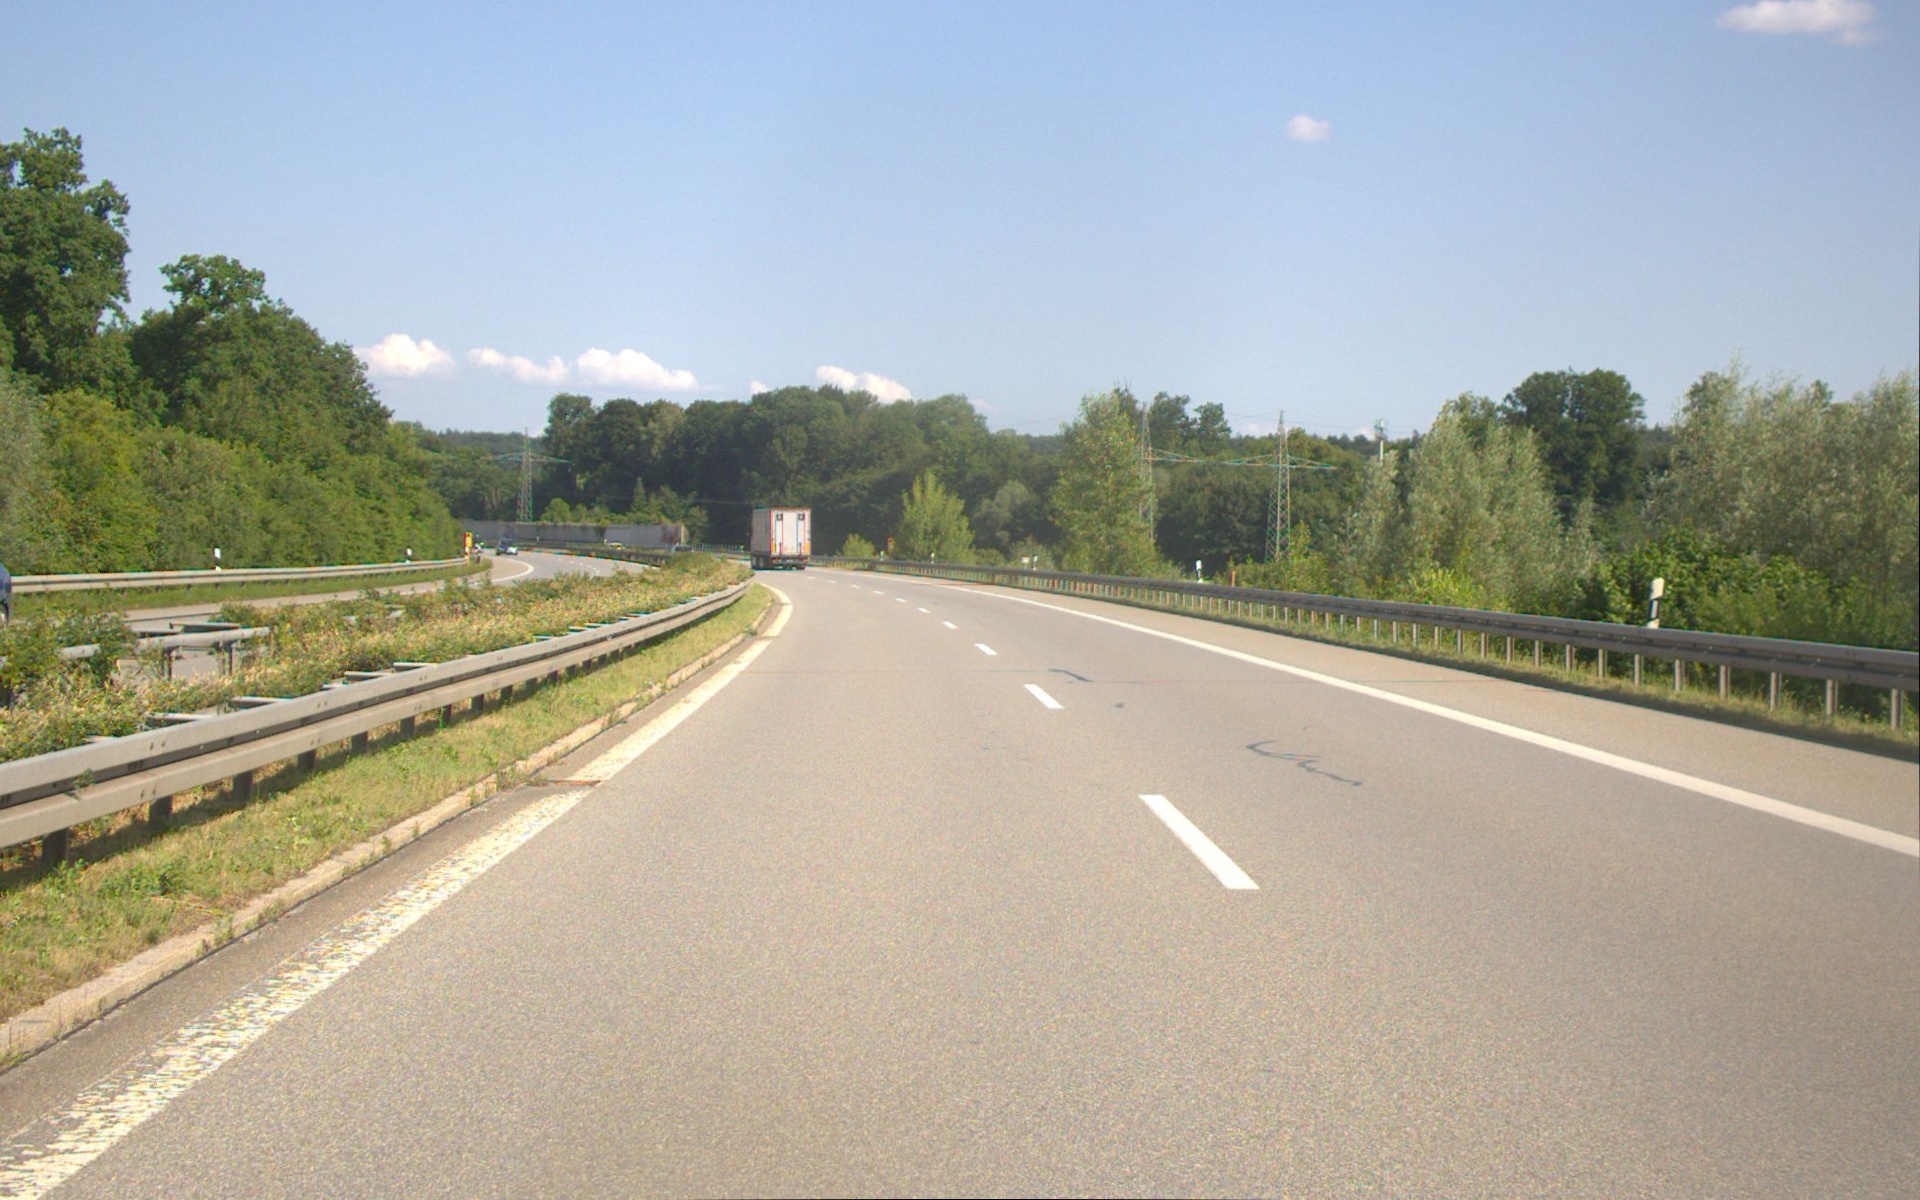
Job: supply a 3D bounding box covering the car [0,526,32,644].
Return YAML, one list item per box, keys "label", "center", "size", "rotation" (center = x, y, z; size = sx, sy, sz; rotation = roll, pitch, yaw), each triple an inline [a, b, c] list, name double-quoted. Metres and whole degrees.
- label: "car"
  center: [-12.549, -0.172, 41.563]
  size: [1.676, 1.436, 4.000]
  rotation: [0, 1, -2]

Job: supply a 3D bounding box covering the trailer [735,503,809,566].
- label: "trailer"
  center: [-12.574, -4.409, 228.843]
  size: [2.883, 4.052, 12.424]
  rotation: [0, 1, -13]

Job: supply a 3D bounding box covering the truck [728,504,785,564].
- label: "truck"
  center: [-13.947, -4.529, 234.887]
  size: [2.829, 3.998, 6.589]
  rotation: [0, 1, -13]
